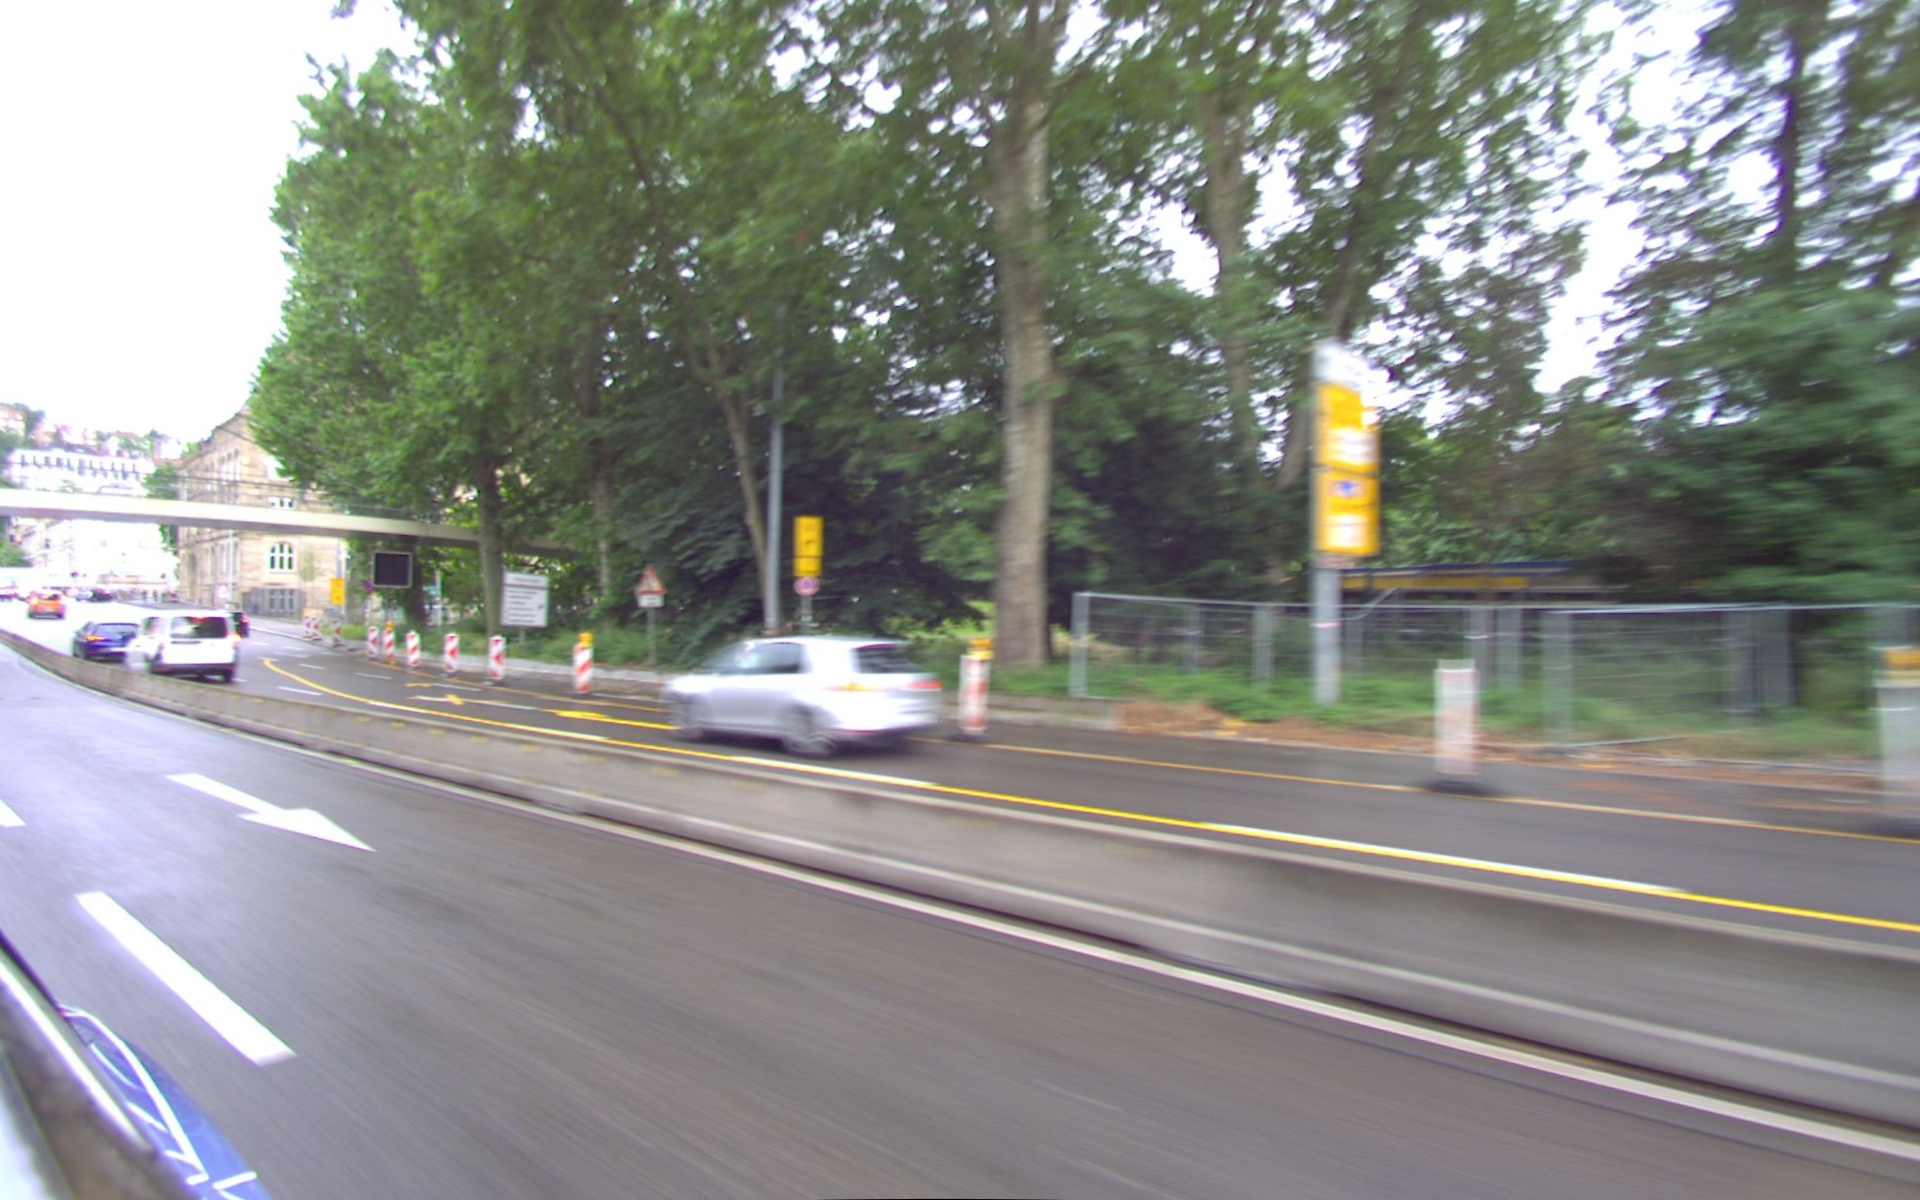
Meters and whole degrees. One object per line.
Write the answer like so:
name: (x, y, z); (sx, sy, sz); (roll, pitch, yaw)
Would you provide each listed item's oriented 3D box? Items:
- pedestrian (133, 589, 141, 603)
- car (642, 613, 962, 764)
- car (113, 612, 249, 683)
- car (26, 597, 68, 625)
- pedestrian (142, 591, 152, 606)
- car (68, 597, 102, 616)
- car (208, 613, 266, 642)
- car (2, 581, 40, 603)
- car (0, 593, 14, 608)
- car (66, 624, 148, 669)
pedestrian: (-95.254, -0.431, 117.139); (0.735, 1.596, 0.609); (2, -2, 43)
car: (-2.172, 1.049, 13.409); (4.084, 1.552, 1.851); (2, -1, 38)
car: (-20.581, 1.213, 26.665); (4.912, 1.666, 2.008); (0, -3, 43)
car: (-70.267, 0.837, 77.854); (5.047, 1.951, 2.008); (2, -1, 45)
pedestrian: (-94.471, -0.168, 117.599); (0.733, 1.596, 0.611); (2, -1, 36)
car: (-99.866, 0.718, 115.506); (3.991, 2.029, 1.976); (2, -1, 35)
car: (-43.197, 1.671, 60.542); (2.002, 1.666, 4.333); (1, -2, -25)
car: (-94.943, -0.787, 102.309); (3.991, 2.029, 1.976); (2, -1, 35)
car: (-100.295, 0.040, 105.441); (4.207, 1.393, 1.974); (2, -1, 39)
car: (-29.016, 1.552, 34.403); (4.064, 1.349, 1.692); (0, -5, 45)
